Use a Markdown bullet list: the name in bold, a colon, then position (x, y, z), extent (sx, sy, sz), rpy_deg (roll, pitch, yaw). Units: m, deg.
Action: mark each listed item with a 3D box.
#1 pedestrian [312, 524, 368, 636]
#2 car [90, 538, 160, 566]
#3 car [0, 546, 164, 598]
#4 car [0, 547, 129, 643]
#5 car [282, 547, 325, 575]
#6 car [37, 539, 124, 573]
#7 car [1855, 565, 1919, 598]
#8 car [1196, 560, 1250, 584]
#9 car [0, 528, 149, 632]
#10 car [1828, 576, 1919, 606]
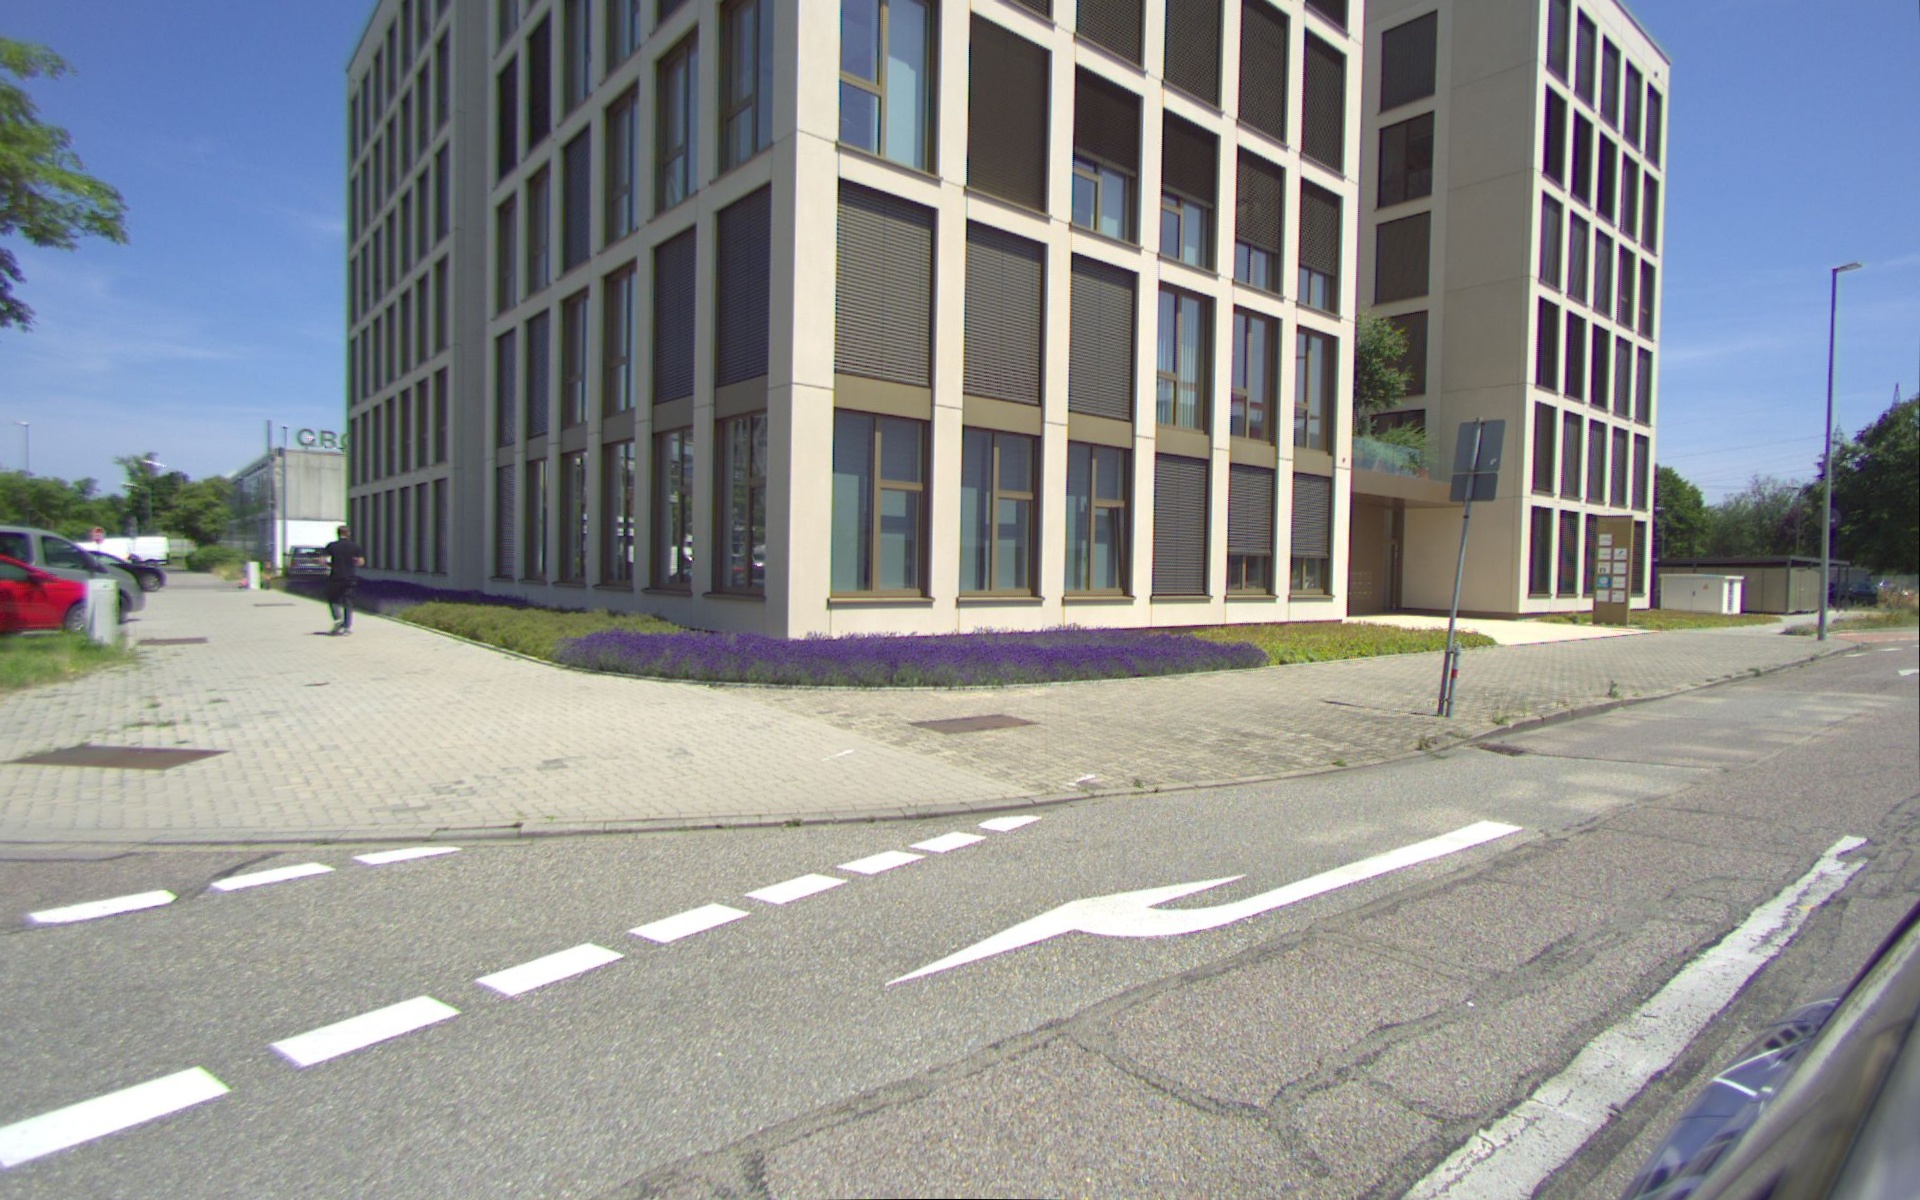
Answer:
- **pedestrian**: position (-10.612, -0.359, 17.326), extent (0.758, 1.867, 0.869), rpy_deg (-1, 3, -32)
- **car**: position (-67.495, -3.892, 81.907), extent (4.280, 2.146, 2.094), rpy_deg (0, 2, -37)
- **car**: position (-29.140, -0.973, 33.440), extent (1.792, 1.557, 4.131), rpy_deg (0, 3, 19)
- **car**: position (-15.387, -0.091, 15.567), extent (1.584, 1.452, 3.991), rpy_deg (1, 2, 9)
- **car**: position (-37.938, -2.281, 58.476), extent (1.758, 1.541, 3.574), rpy_deg (-1, 3, -39)
- **car**: position (-54.940, -2.719, 63.341), extent (3.925, 2.038, 2.000), rpy_deg (0, 2, -36)
- **car**: position (59.223, -1.131, 63.569), extent (3.958, 1.977, 1.984), rpy_deg (2, 2, 25)
- **car**: position (20.941, -2.228, 80.518), extent (3.921, 1.874, 2.002), rpy_deg (0, 2, -31)
- **car**: position (-17.759, -0.388, 18.435), extent (1.676, 1.838, 4.899), rpy_deg (1, 2, 7)
- **car**: position (55.722, -0.562, 61.587), extent (3.960, 1.682, 1.822), rpy_deg (2, 2, 26)
